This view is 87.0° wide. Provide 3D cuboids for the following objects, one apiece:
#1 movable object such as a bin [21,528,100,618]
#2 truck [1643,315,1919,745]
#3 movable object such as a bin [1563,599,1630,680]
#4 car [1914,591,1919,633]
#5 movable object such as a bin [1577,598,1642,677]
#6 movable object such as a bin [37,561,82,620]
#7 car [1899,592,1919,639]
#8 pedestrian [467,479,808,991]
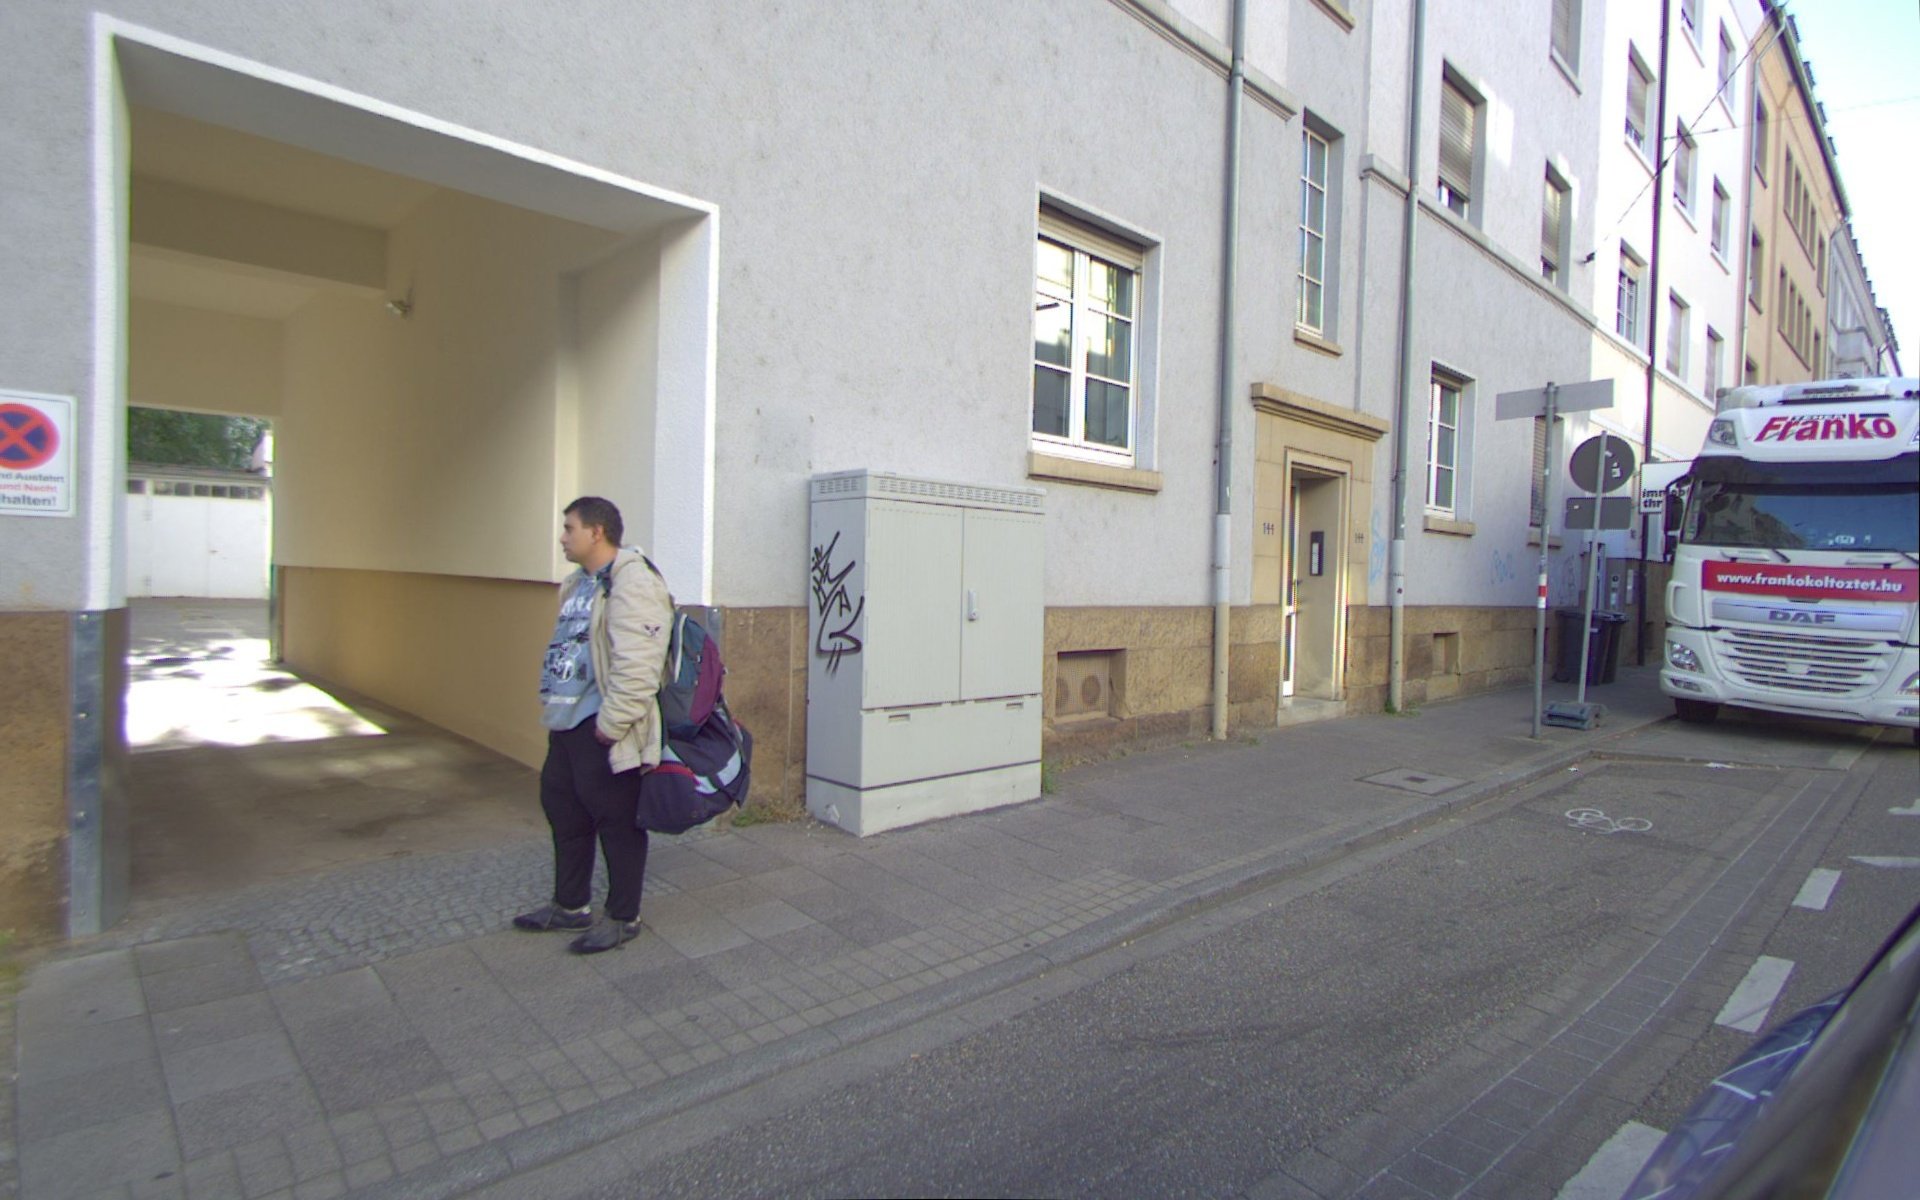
[{"bbox_3d":[-15.145,-0.460,17.032,0.946,1.426,1.597,0,2,-43],"label":"movable object such as a bin"},{"bbox_3d":[12.584,-0.681,13.896,11.621,3.975,2.778,0,2,-44],"label":"truck"},{"bbox_3d":[9.179,0.549,14.603,0.560,1.107,0.665,0,2,-43],"label":"movable object such as a bin"},{"bbox_3d":[37.683,0.459,38.647,4.080,1.551,1.681,0,0,-44],"label":"car"},{"bbox_3d":[9.658,0.540,15.054,0.560,1.107,0.665,0,2,-43],"label":"movable object such as a bin"},{"bbox_3d":[-14.403,-0.153,16.181,0.518,0.922,0.580,0,2,-43],"label":"movable object such as a bin"},{"bbox_3d":[33.513,0.527,34.749,4.080,1.551,1.681,0,0,-44],"label":"car"},{"bbox_3d":[-1.200,0.394,3.738,0.854,1.590,0.875,1,3,-43],"label":"pedestrian"}]
